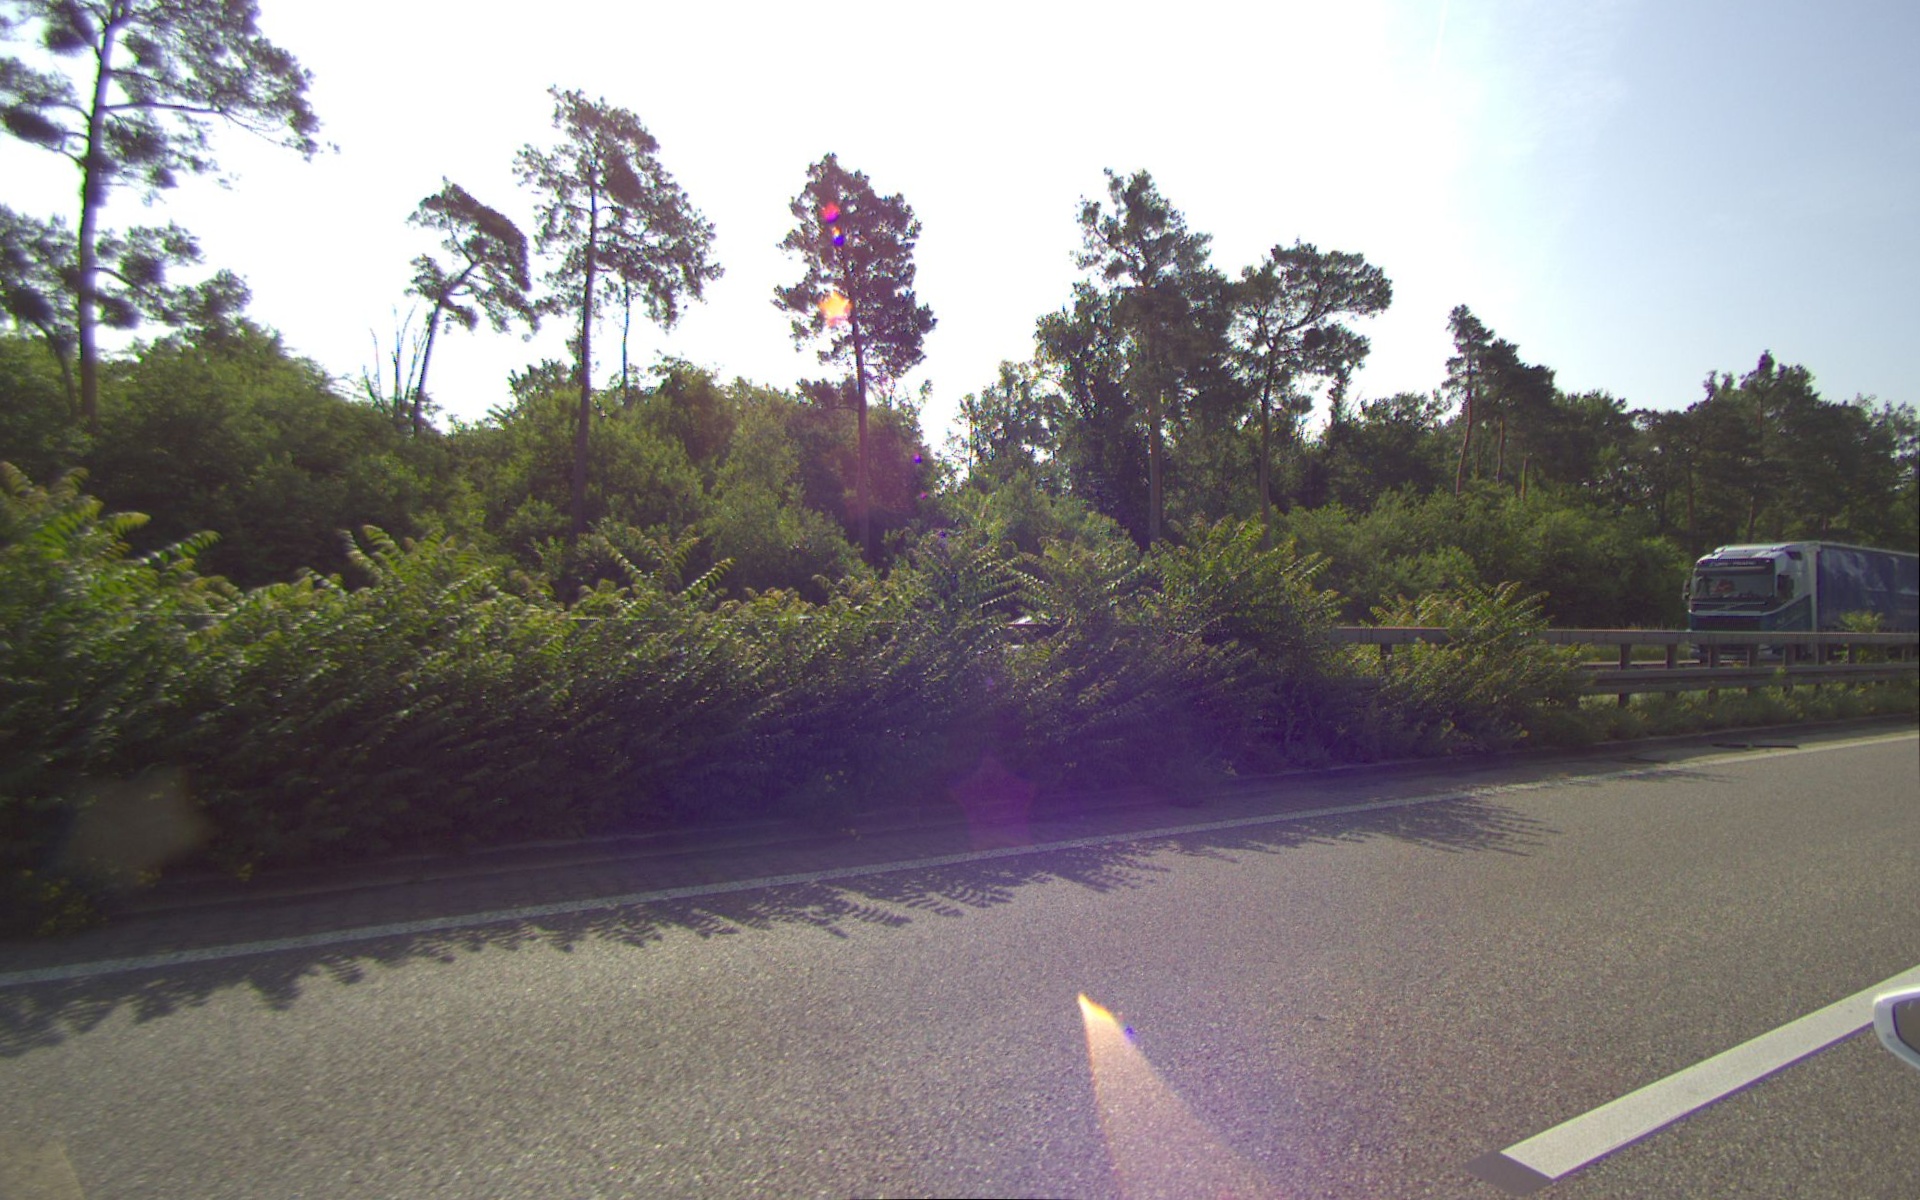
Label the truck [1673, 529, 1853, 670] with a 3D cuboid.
[{"bbox_3d":[26.513,0.076,33.118,6.221,4.256,2.696,1,-1,-31],"label":"truck"}]

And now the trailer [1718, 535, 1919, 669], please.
[{"bbox_3d":[32.077,0.212,36.485,12.930,4.256,2.678,1,-1,-31],"label":"trailer"}]
